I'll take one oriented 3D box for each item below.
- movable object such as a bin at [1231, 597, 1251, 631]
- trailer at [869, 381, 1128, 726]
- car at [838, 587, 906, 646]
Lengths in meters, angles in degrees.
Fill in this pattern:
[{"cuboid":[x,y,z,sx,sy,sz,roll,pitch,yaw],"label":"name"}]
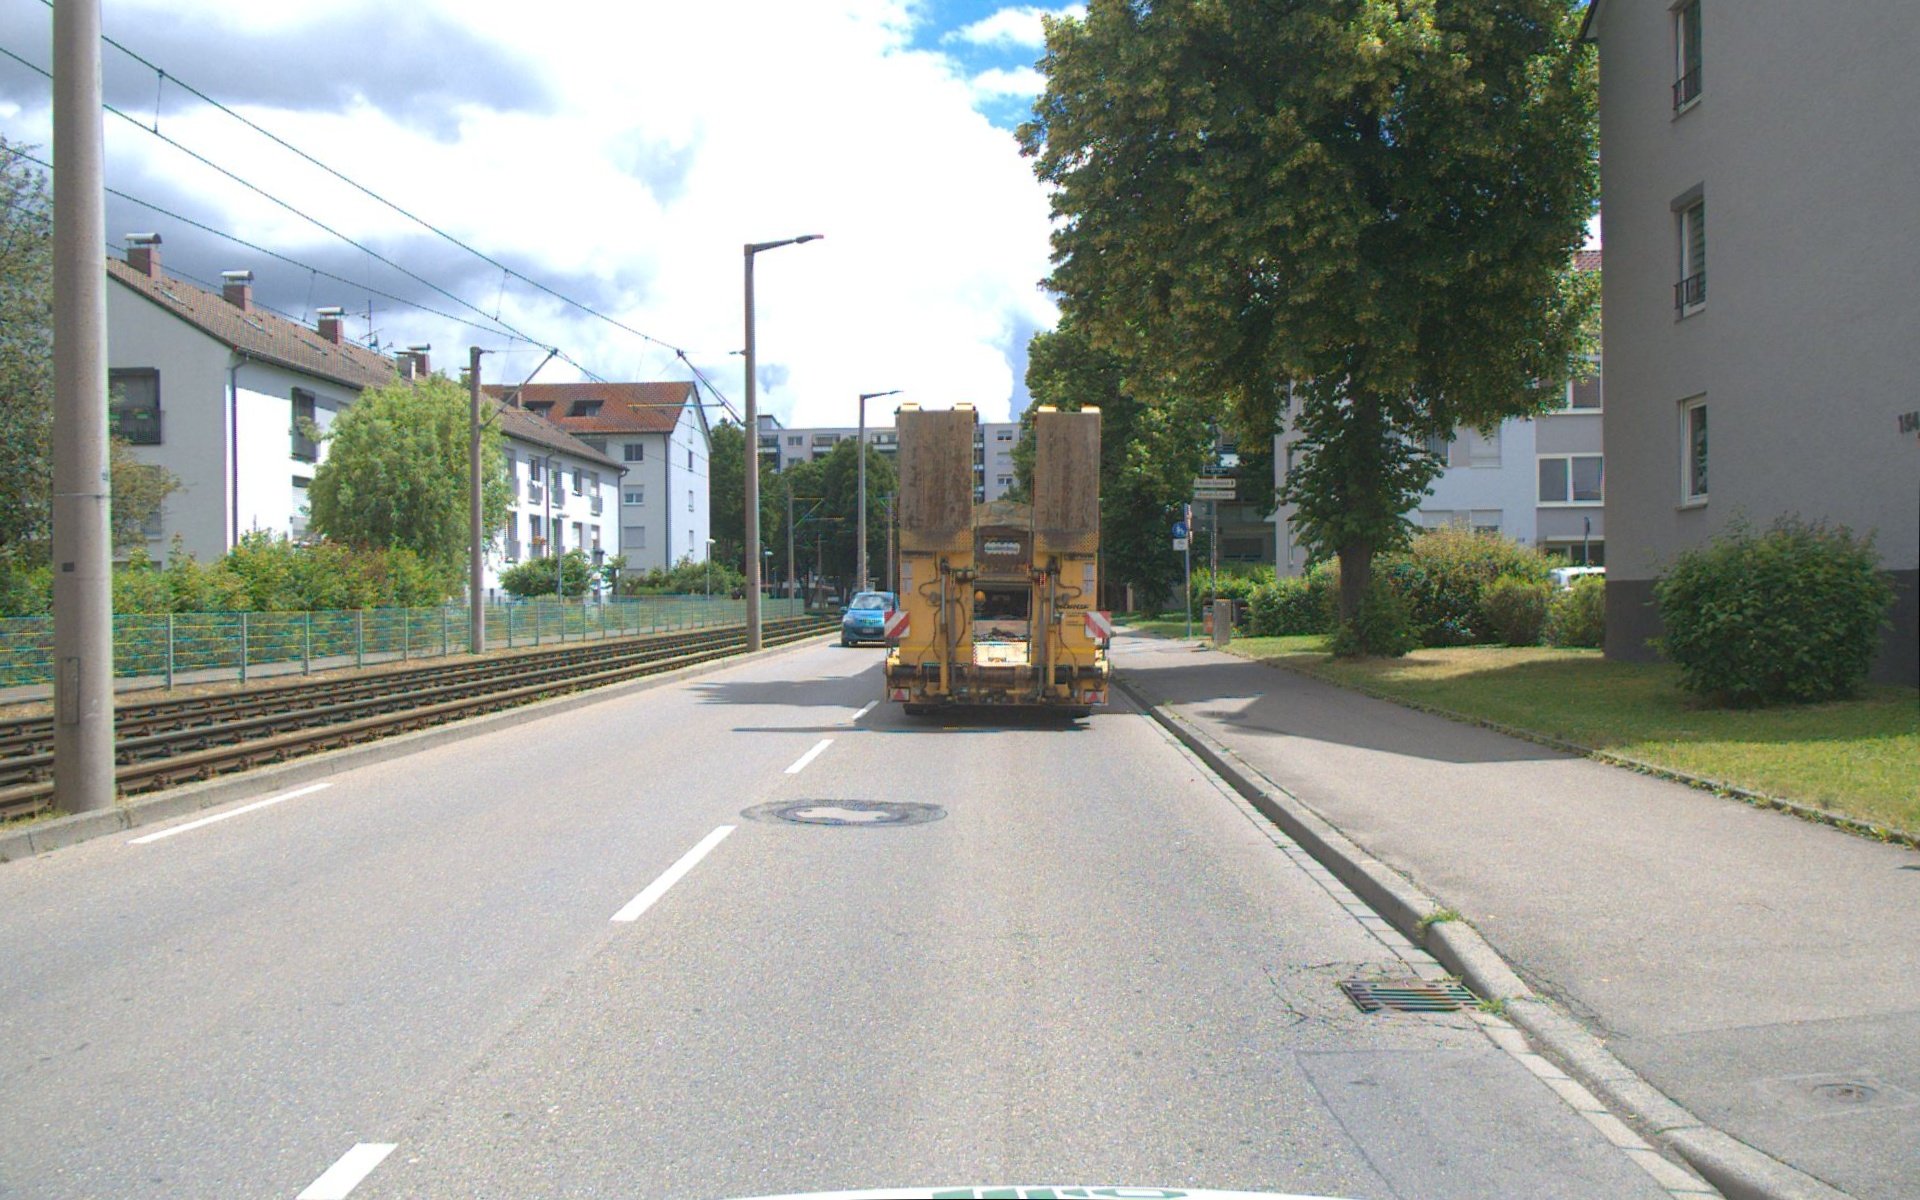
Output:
[{"cuboid":[8.177,0.406,48.127,0.486,0.971,0.580,-2,0,1],"label":"movable object such as a bin"},{"cuboid":[0.283,-0.503,24.219,2.770,3.709,12.350,1,0,-1],"label":"trailer"},{"cuboid":[-2.384,0.432,45.397,1.590,1.552,3.582,0,0,1],"label":"car"}]
